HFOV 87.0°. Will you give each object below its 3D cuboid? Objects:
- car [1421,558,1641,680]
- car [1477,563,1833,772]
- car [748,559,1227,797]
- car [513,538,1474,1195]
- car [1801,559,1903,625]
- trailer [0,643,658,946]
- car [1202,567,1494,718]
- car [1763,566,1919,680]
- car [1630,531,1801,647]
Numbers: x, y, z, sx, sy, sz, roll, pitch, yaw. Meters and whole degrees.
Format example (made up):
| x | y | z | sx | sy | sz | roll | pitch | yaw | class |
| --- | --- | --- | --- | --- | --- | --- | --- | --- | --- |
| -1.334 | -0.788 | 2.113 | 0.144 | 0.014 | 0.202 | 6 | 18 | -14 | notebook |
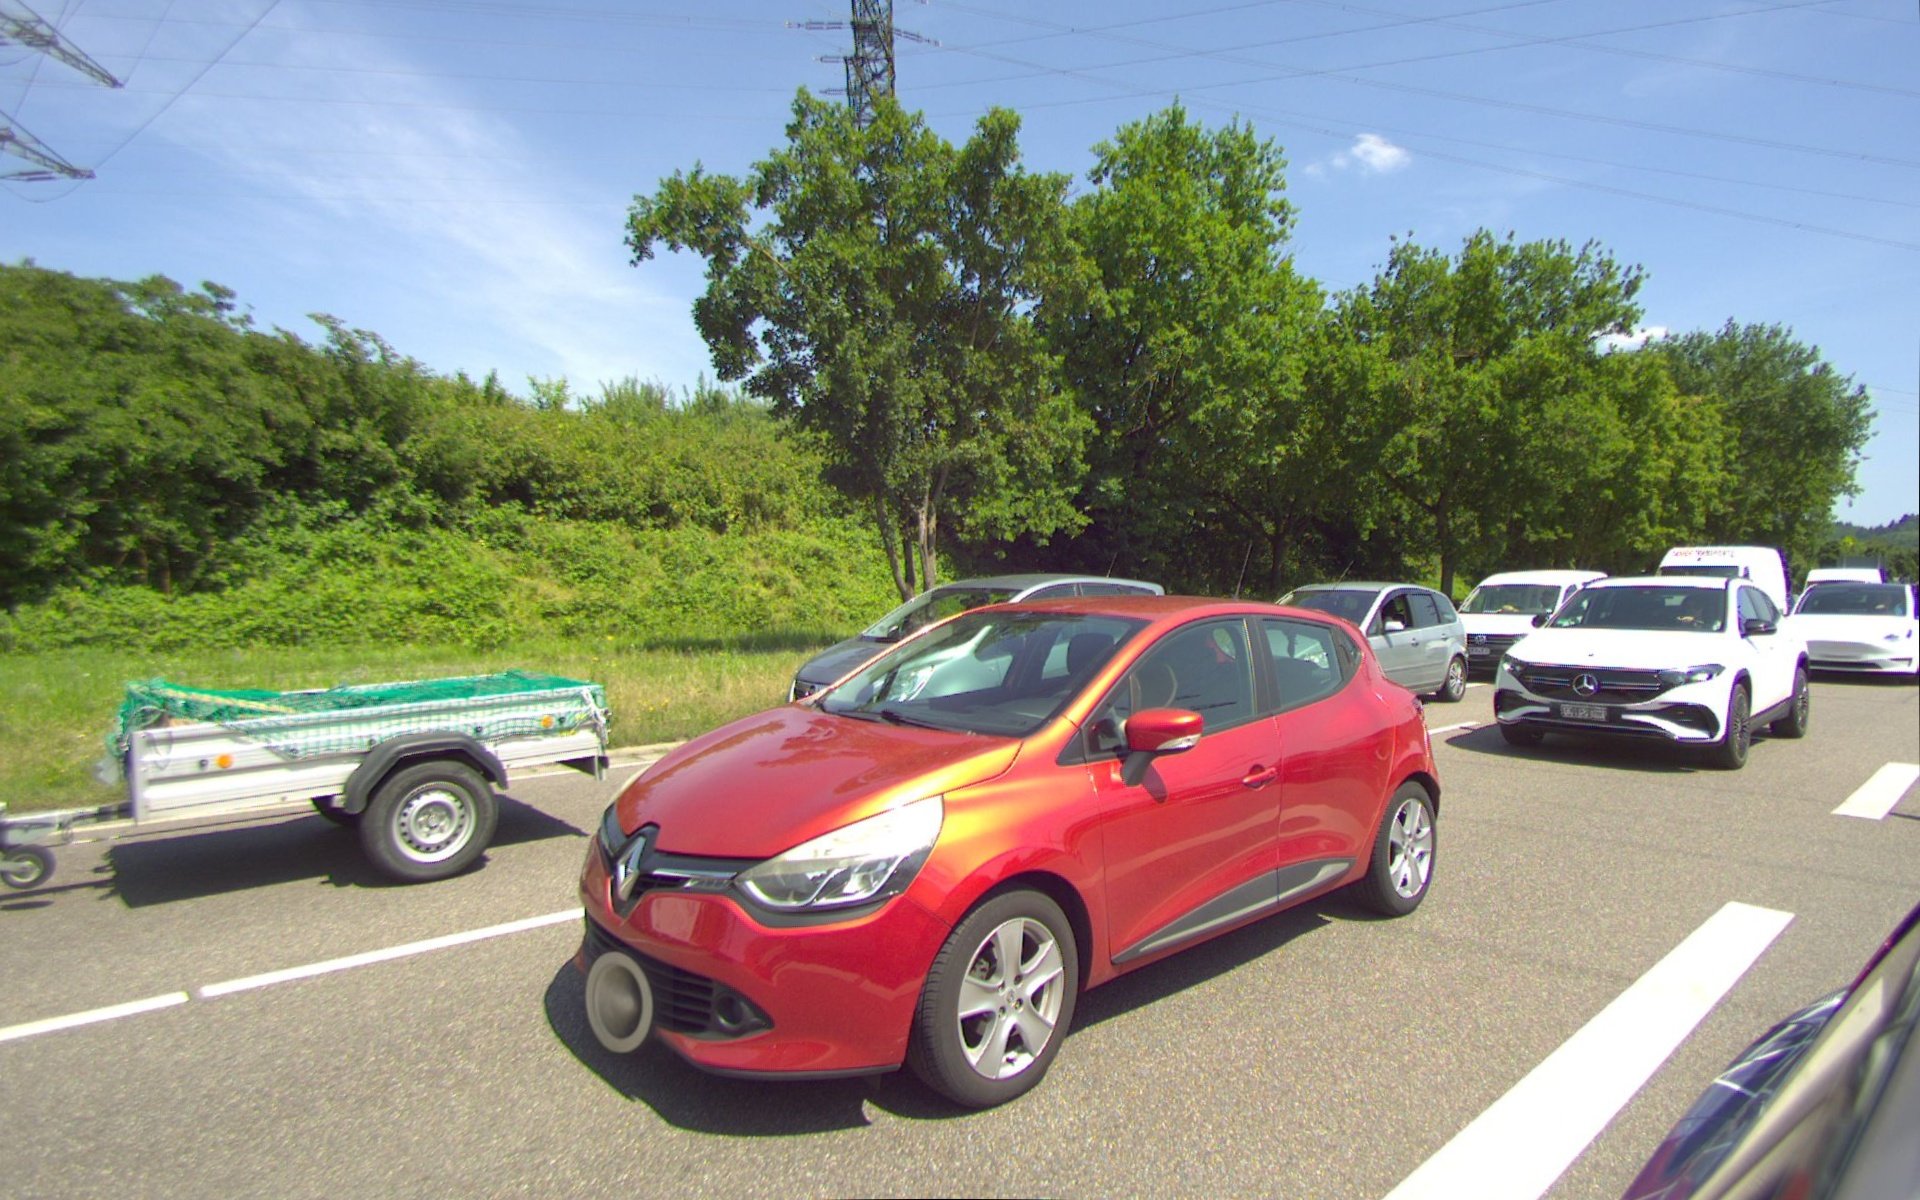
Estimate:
| x | y | z | sx | sy | sz | roll | pitch | yaw | class |
| --- | --- | --- | --- | --- | --- | --- | --- | --- | --- |
| 9.917 | 0.257 | 17.386 | 4.951 | 1.823 | 1.807 | 0 | 0 | -42 | car |
| 6.854 | 0.489 | 9.798 | 4.287 | 1.588 | 1.849 | 0 | 0 | -41 | car |
| 0.400 | 0.495 | 8.886 | 4.092 | 1.615 | 1.768 | 0 | 2 | -41 | car |
| 0.467 | 0.580 | 4.282 | 3.995 | 1.480 | 1.745 | -1 | 1 | -42 | car |
| 35.580 | -0.342 | 40.302 | 5.712 | 2.453 | 2.306 | -1 | 0 | -41 | car |
| -3.497 | 0.828 | 5.323 | 3.266 | 1.019 | 1.708 | 0 | 1 | -41 | trailer |
| 5.064 | 0.436 | 12.935 | 4.198 | 1.614 | 1.746 | 0 | 0 | -41 | car |
| 15.299 | 0.326 | 17.193 | 3.932 | 1.703 | 2.019 | -1 | 0 | -43 | car |
| 19.642 | -0.280 | 26.140 | 6.897 | 2.640 | 2.230 | 0 | 0 | -42 | car |
